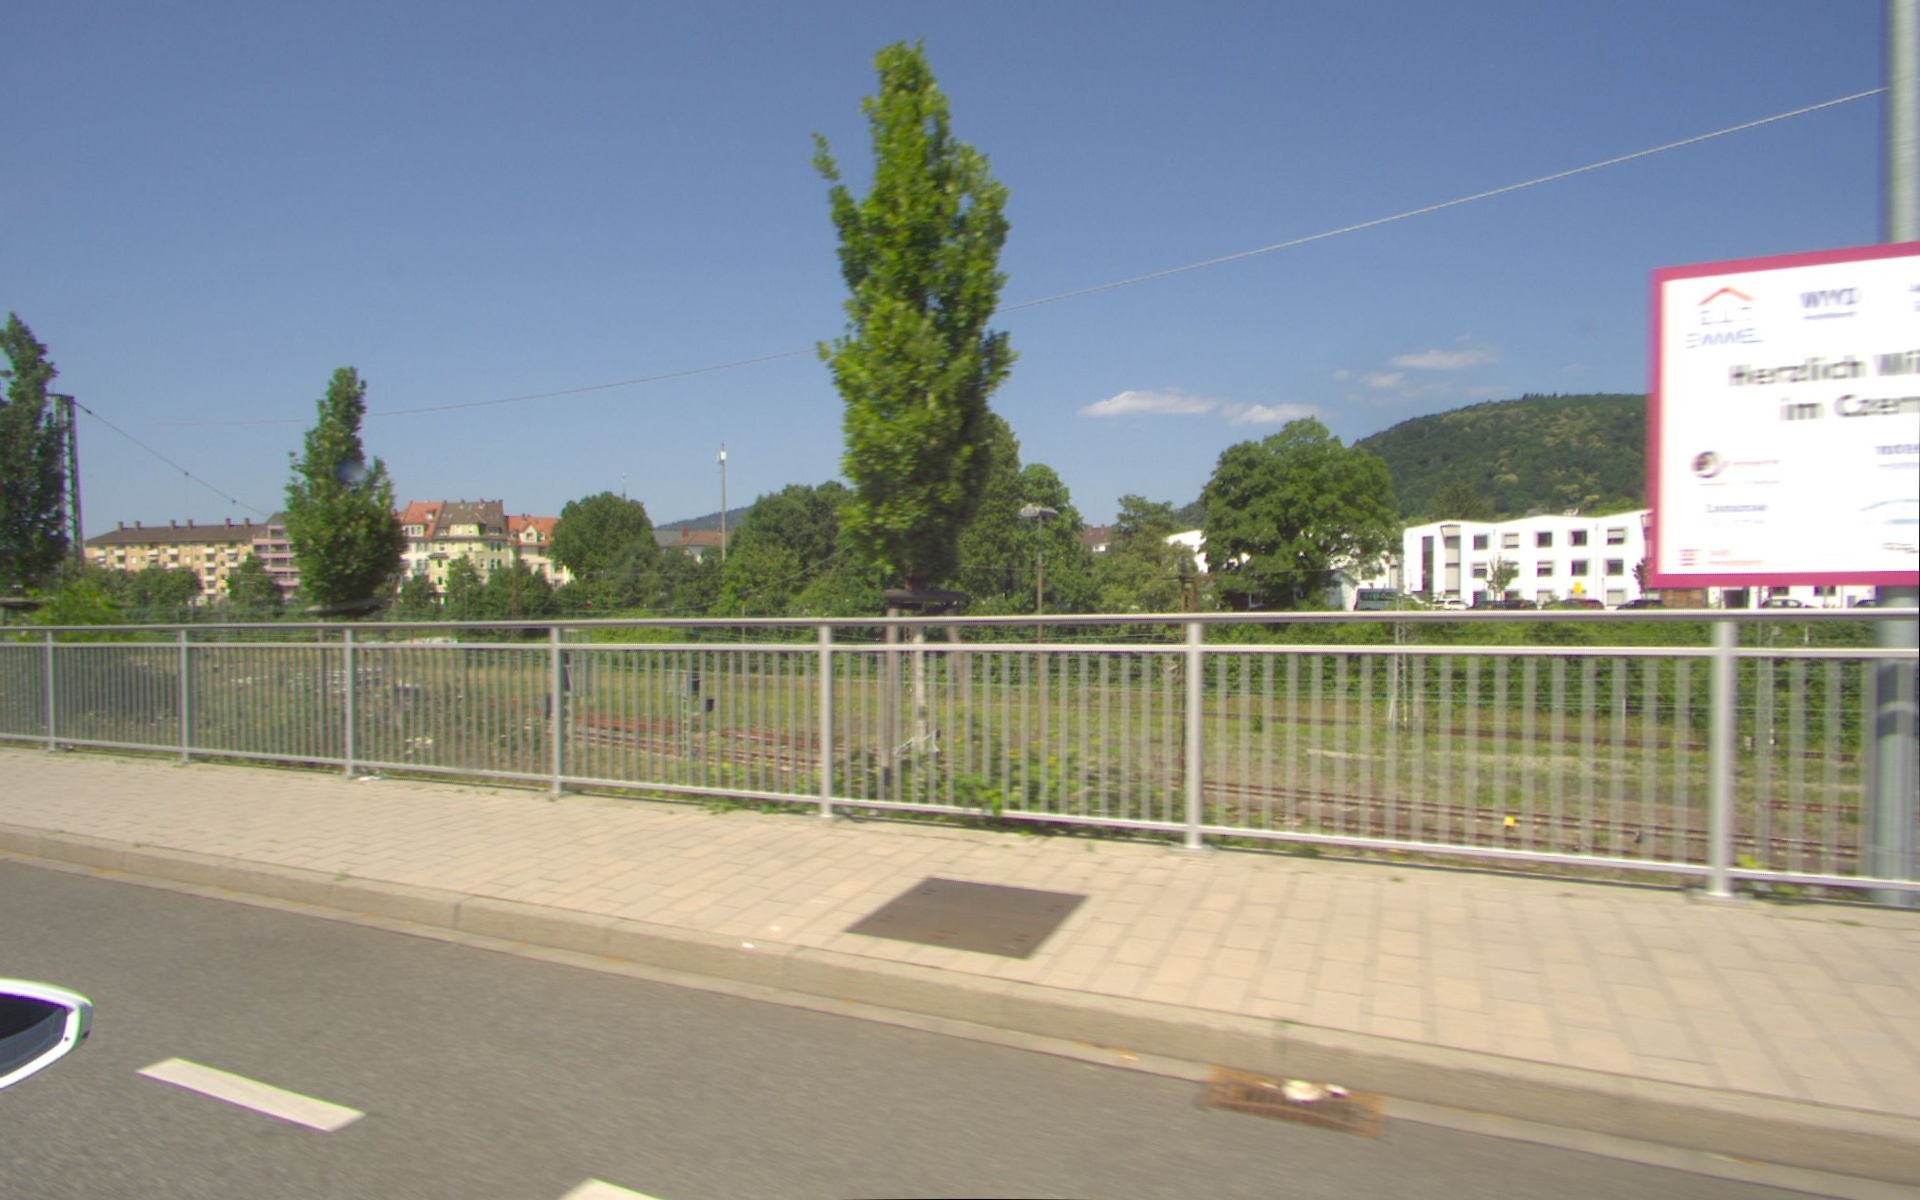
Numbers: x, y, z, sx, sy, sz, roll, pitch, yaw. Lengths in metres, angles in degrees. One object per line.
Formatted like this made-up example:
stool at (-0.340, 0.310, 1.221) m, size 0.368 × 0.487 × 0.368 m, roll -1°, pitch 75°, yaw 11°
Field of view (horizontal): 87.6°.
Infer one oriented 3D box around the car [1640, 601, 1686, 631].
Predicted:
car at (50.830, 1.103, 72.358) m, size 4.426 × 2.040 × 1.980 m, roll -1°, pitch 1°, yaw -44°

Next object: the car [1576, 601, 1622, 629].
car at (48.188, 1.115, 75.504) m, size 4.426 × 2.040 × 1.980 m, roll -1°, pitch 1°, yaw -44°

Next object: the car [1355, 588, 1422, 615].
car at (35.257, 0.142, 82.362) m, size 4.915 × 2.141 × 1.991 m, roll 0°, pitch 1°, yaw 29°

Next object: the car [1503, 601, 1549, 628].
car at (44.908, 1.132, 79.417) m, size 4.426 × 2.040 × 1.980 m, roll -1°, pitch 1°, yaw -44°

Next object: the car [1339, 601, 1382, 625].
car at (35.939, 1.176, 89.842) m, size 4.426 × 2.040 × 1.980 m, roll -1°, pitch 1°, yaw -44°

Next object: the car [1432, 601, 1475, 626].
car at (41.786, 1.142, 84.760) m, size 4.426 × 2.040 × 1.980 m, roll -1°, pitch 1°, yaw -44°
